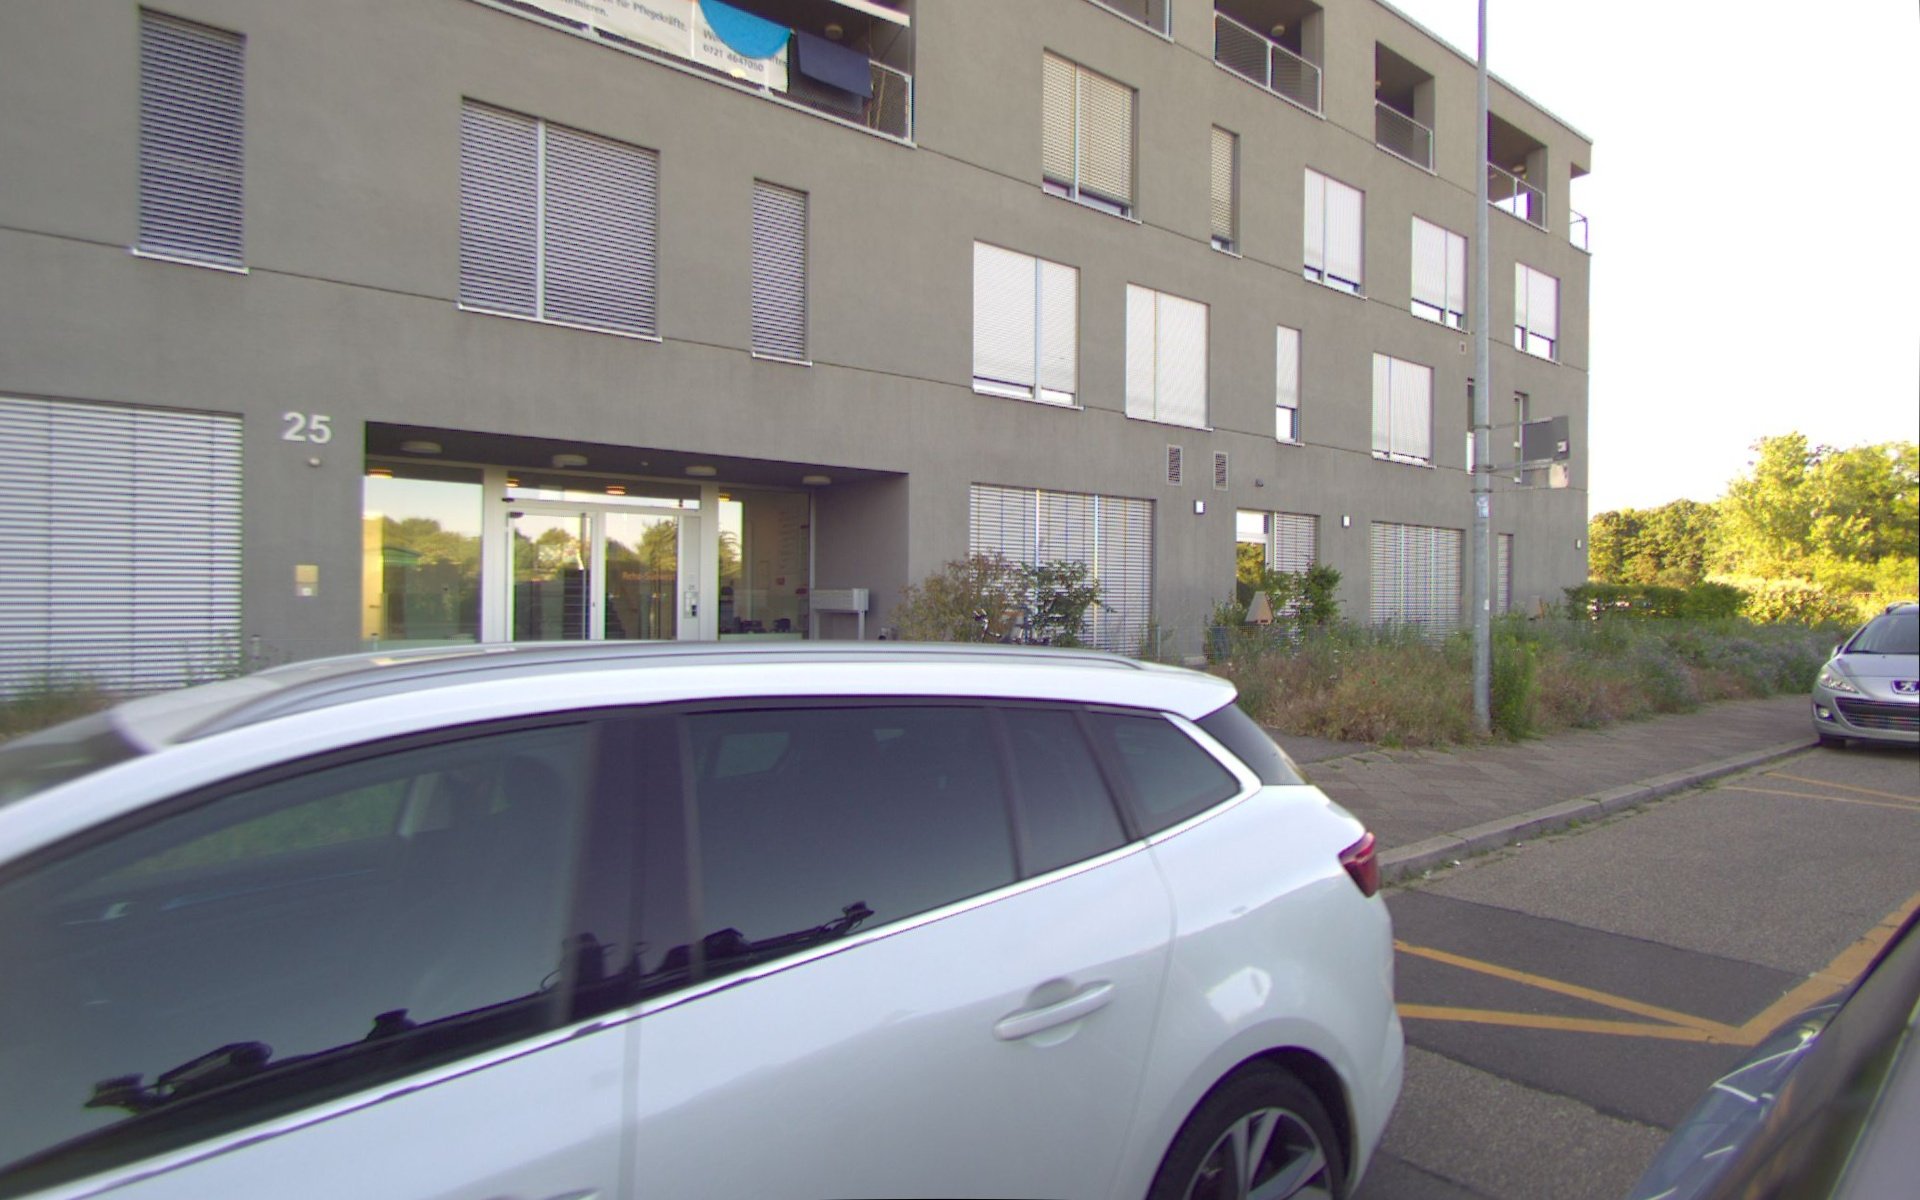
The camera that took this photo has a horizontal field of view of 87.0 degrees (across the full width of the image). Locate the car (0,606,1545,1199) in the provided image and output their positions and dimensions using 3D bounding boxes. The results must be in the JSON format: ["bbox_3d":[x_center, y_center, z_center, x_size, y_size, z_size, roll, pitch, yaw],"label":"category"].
[{"bbox_3d":[-0.966,0.746,1.758,4.499,1.447,1.750,0,-1,-36],"label":"car"}]

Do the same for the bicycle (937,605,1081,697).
[{"bbox_3d":[0.630,0.604,12.583,1.806,1.075,0.554,0,0,-33],"label":"bicycle"}]

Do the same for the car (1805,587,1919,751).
[{"bbox_3d":[10.674,0.648,10.702,4.076,1.546,1.712,0,0,-36],"label":"car"}]
